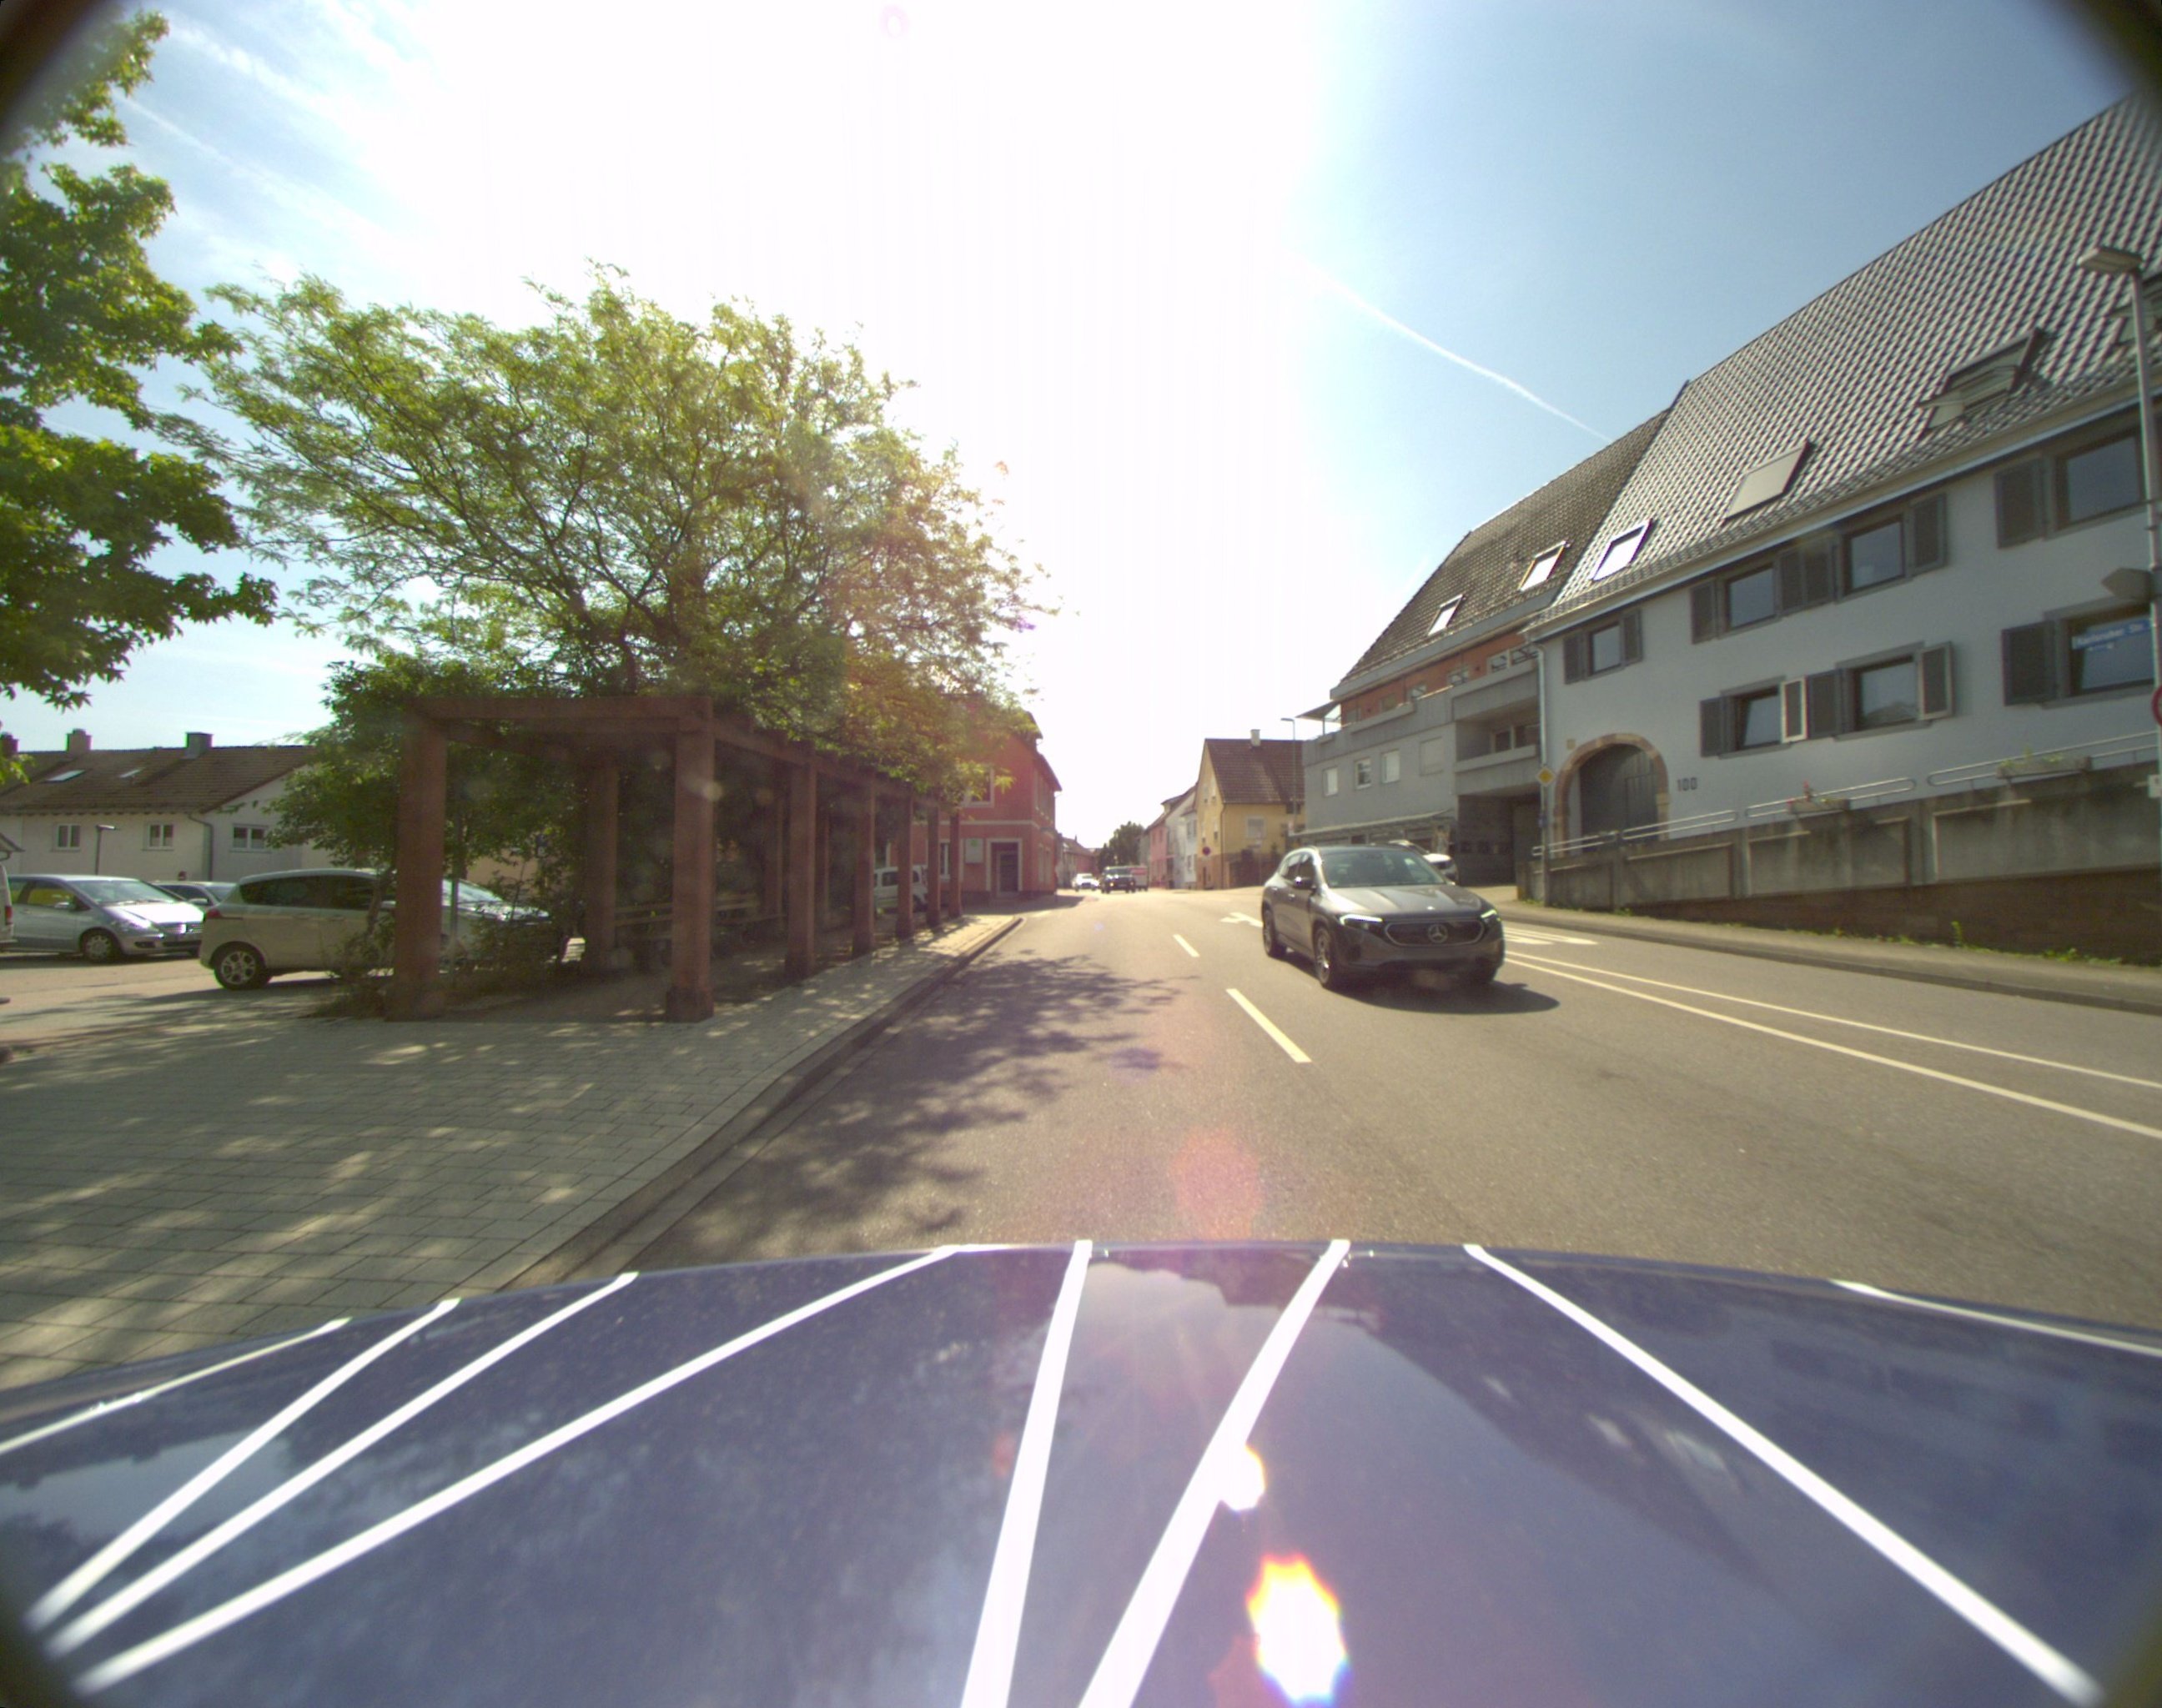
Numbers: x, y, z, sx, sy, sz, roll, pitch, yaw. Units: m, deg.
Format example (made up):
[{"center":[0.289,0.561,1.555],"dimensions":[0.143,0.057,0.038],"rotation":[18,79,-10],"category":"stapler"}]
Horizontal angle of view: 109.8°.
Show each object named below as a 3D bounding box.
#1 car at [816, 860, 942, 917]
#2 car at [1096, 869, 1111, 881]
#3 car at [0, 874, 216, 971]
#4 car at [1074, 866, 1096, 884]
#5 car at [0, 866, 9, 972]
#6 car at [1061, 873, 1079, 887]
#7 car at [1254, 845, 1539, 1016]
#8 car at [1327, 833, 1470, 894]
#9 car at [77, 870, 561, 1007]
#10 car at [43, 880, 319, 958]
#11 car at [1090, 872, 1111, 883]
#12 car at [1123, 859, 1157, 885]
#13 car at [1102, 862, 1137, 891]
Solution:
[{"center":[-7.559,1.291,28.631],"dimensions":[4.095,1.743,1.813],"rotation":[-5,0,6],"category":"car"},{"center":[3.053,2.863,103.632],"dimensions":[1.734,1.532,3.813],"rotation":[0,-2,-1],"category":"car"},{"center":[-18.786,1.211,13.818],"dimensions":[3.982,1.602,1.756],"rotation":[-1,0,-1],"category":"car"},{"center":[0.307,1.925,69.710],"dimensions":[1.780,1.533,4.098],"rotation":[-2,0,-2],"category":"car"},{"center":[-19.733,1.085,11.513],"dimensions":[4.185,1.730,1.884],"rotation":[-1,0,-1],"category":"car"},{"center":[-1.252,3.009,89.450],"dimensions":[1.836,1.533,4.171],"rotation":[-1,0,3],"category":"car"},{"center":[3.491,0.719,9.373],"dimensions":[1.737,1.564,4.290],"rotation":[-2,0,1],"category":"car"},{"center":[10.342,0.309,25.315],"dimensions":[1.811,1.787,5.281],"rotation":[-1,0,-10],"category":"car"},{"center":[-9.676,1.051,9.945],"dimensions":[4.492,1.535,1.726],"rotation":[-1,-3,-1],"category":"car"},{"center":[-19.212,1.360,16.353],"dimensions":[3.881,1.482,1.654],"rotation":[-1,0,-1],"category":"car"},{"center":[3.471,4.124,133.390],"dimensions":[1.944,1.841,4.517],"rotation":[-3,-1,27],"category":"car"},{"center":[4.554,1.411,59.597],"dimensions":[1.974,1.921,5.313],"rotation":[0,-1,-4],"category":"car"},{"center":[2.310,1.328,46.908],"dimensions":[1.792,1.642,4.393],"rotation":[-1,0,-2],"category":"car"}]
